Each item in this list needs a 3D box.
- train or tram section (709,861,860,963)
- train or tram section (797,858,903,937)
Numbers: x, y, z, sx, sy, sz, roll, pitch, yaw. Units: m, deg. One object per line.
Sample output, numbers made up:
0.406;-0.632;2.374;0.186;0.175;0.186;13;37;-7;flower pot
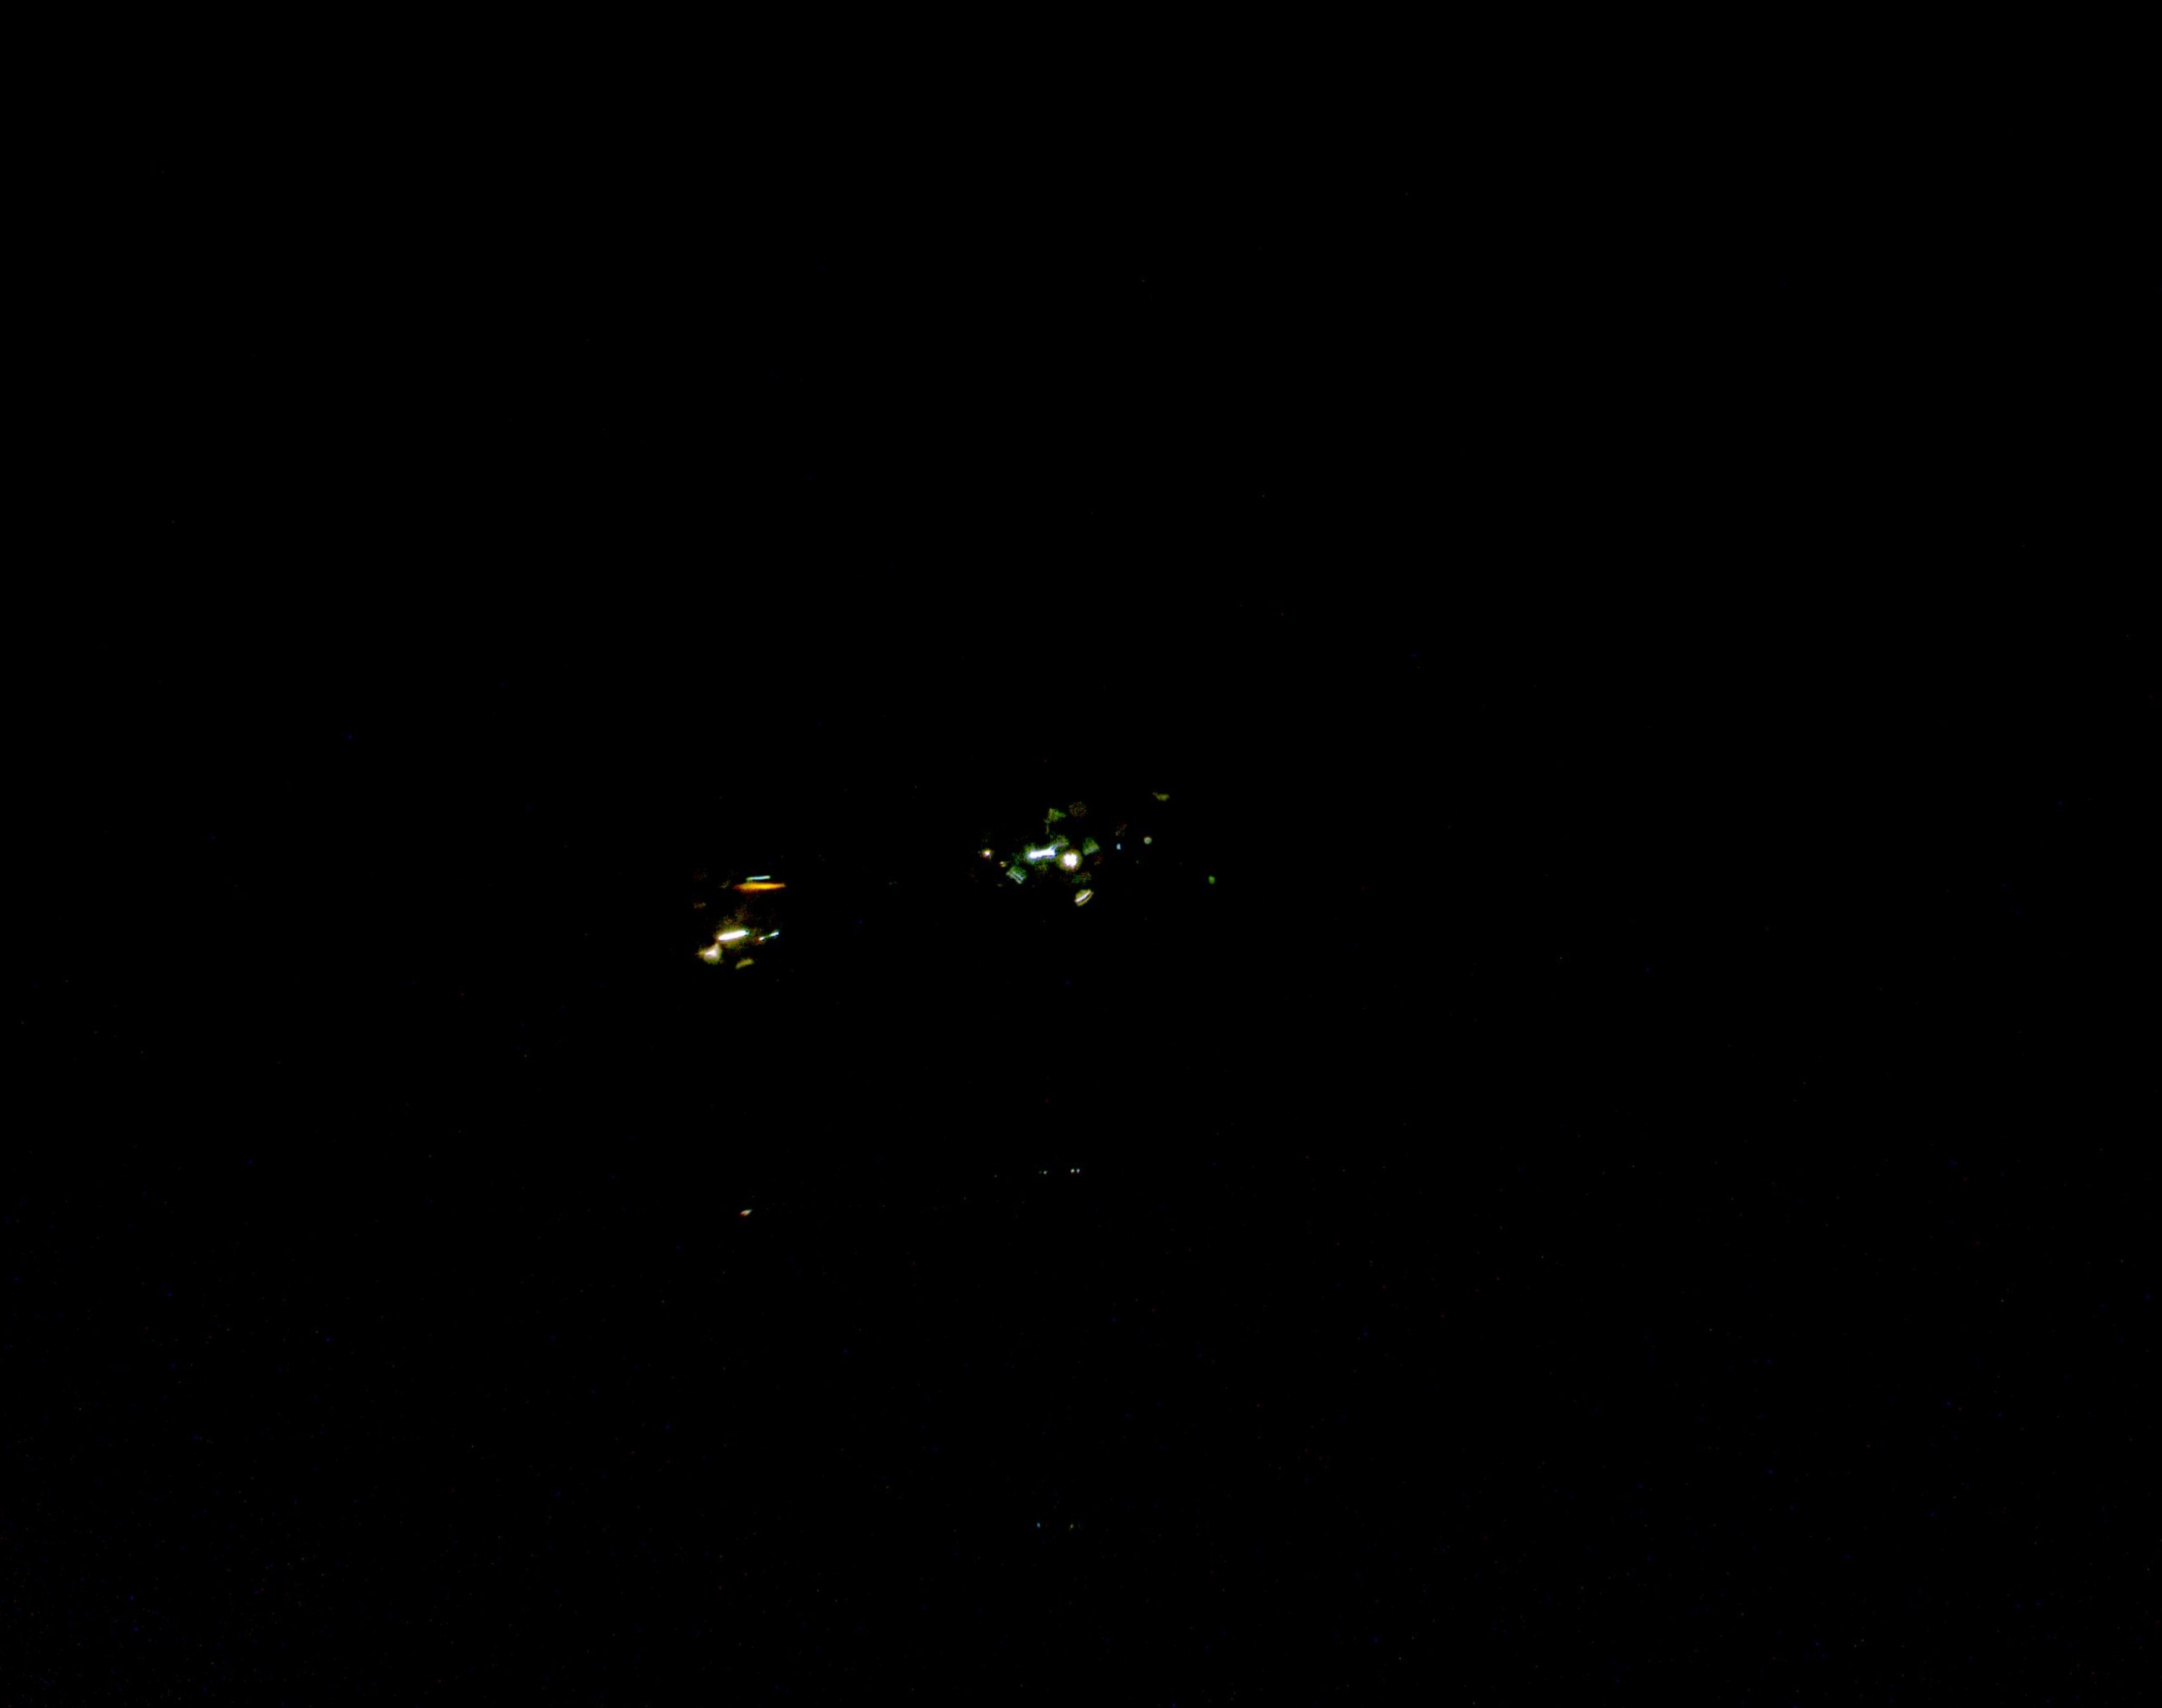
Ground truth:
-11.799;2.107;33.517;2.834;3.460;8.555;-2;0;1;train or tram section
-11.668;2.052;42.109;2.834;3.460;8.555;-2;0;1;train or tram section
